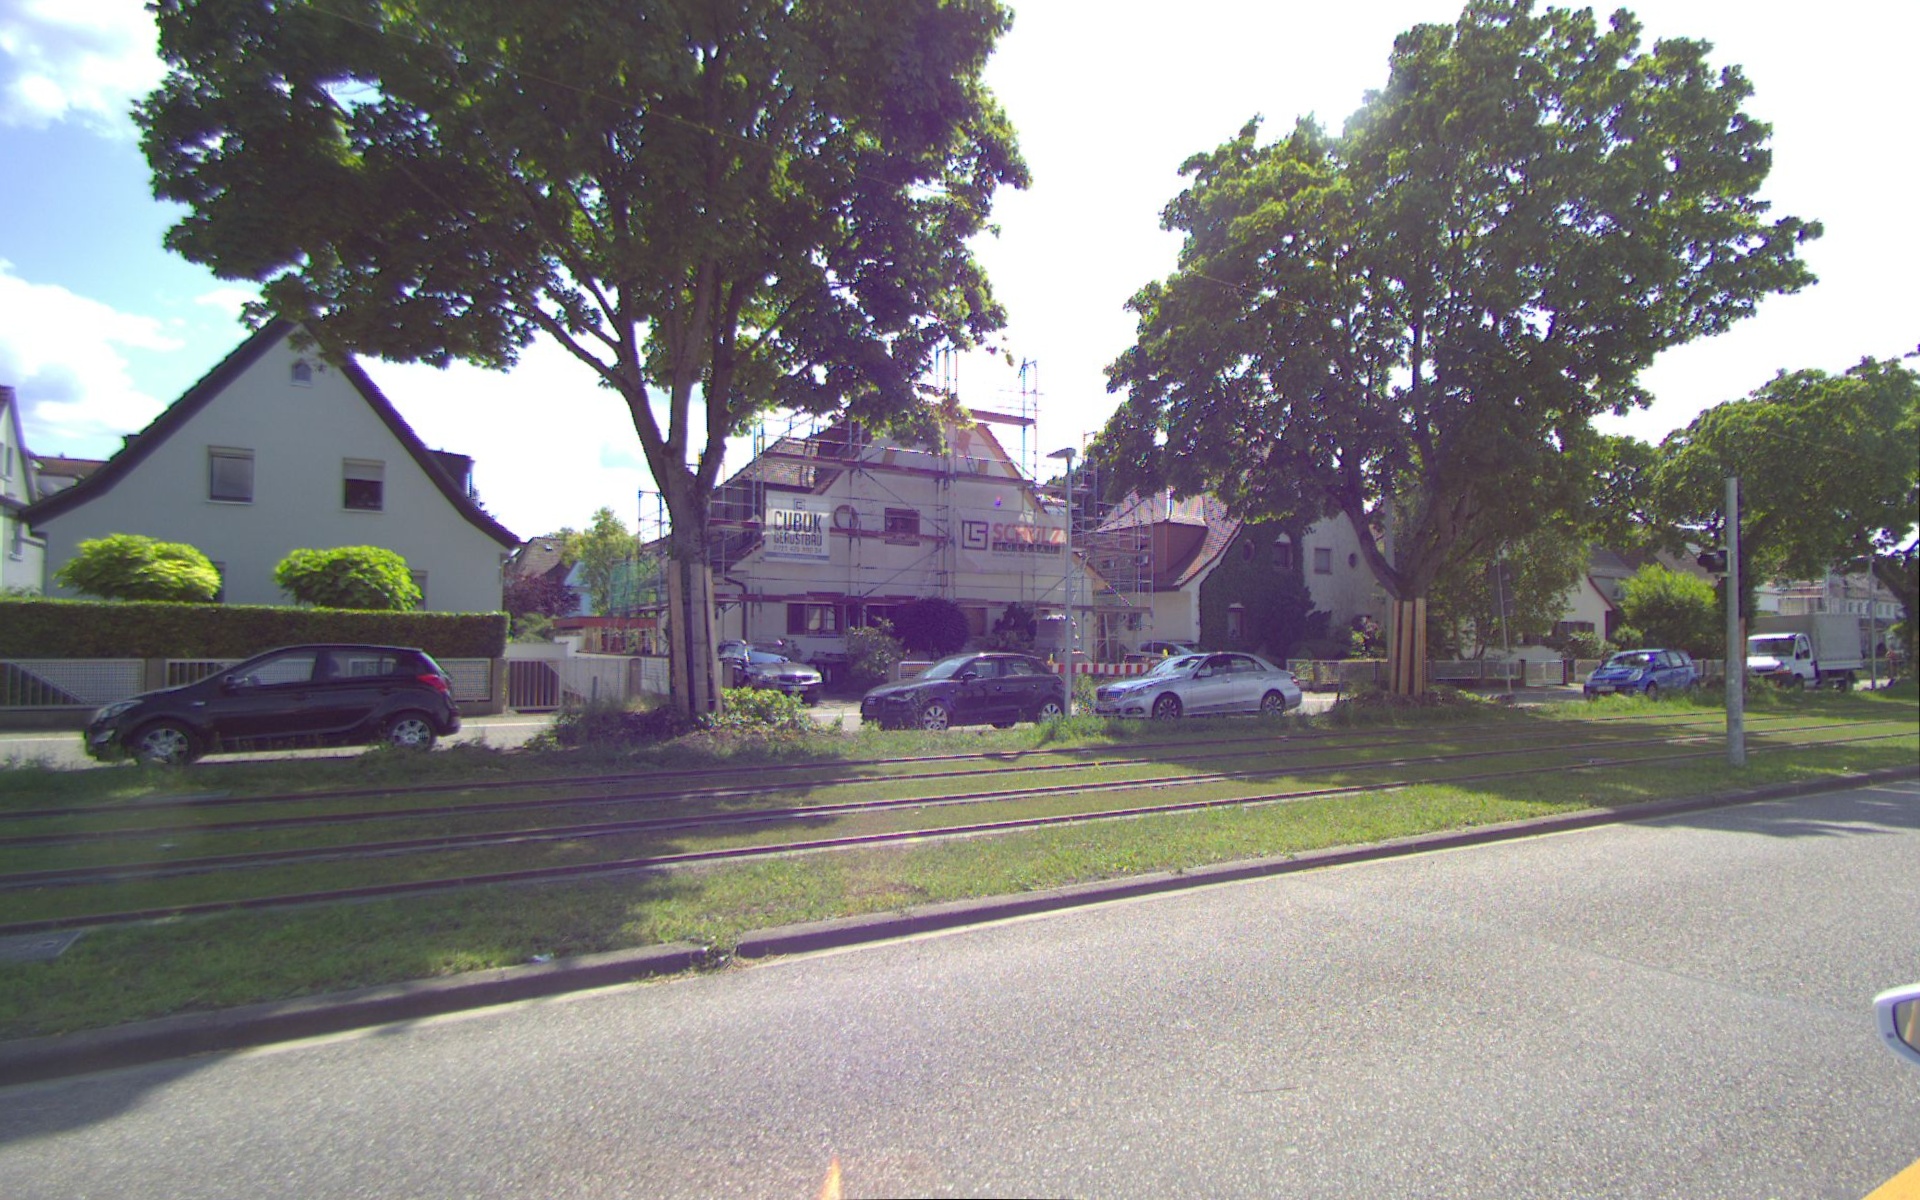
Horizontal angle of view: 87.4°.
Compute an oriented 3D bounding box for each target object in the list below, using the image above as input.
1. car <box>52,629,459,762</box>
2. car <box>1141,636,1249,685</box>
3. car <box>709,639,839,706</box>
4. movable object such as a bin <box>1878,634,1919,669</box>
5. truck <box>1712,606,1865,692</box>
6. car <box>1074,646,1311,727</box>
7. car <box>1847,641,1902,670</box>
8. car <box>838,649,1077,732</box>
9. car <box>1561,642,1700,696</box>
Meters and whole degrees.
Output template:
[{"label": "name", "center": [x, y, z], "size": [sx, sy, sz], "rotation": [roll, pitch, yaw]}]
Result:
[{"label": "car", "center": [-8.738, 1.191, 12.917], "size": [3.954, 1.457, 1.984], "rotation": [3, -5, -31]}, {"label": "car", "center": [8.482, 2.191, 36.521], "size": [1.851, 1.705, 3.631], "rotation": [3, -4, -30]}, {"label": "car", "center": [-4.685, 1.744, 24.870], "size": [1.959, 1.419, 3.969], "rotation": [3, -2, -29]}, {"label": "movable object such as a bin", "center": [68.843, 3.680, 72.022], "size": [4.283, 2.481, 1.781], "rotation": [-1, -3, 39]}, {"label": "truck", "center": [29.041, 1.738, 35.152], "size": [6.203, 2.803, 1.985], "rotation": [2, -5, -31]}, {"label": "car", "center": [4.838, 1.745, 20.701], "size": [4.881, 1.501, 1.797], "rotation": [3, -4, -30]}, {"label": "car", "center": [56.811, 3.443, 62.423], "size": [2.995, 1.744, 1.677], "rotation": [3, -4, -30]}, {"label": "car", "center": [-0.030, 1.603, 17.964], "size": [3.808, 1.334, 1.985], "rotation": [3, -6, -30]}, {"label": "car", "center": [19.814, 2.030, 29.650], "size": [3.956, 1.472, 1.983], "rotation": [3, -4, -32]}]
